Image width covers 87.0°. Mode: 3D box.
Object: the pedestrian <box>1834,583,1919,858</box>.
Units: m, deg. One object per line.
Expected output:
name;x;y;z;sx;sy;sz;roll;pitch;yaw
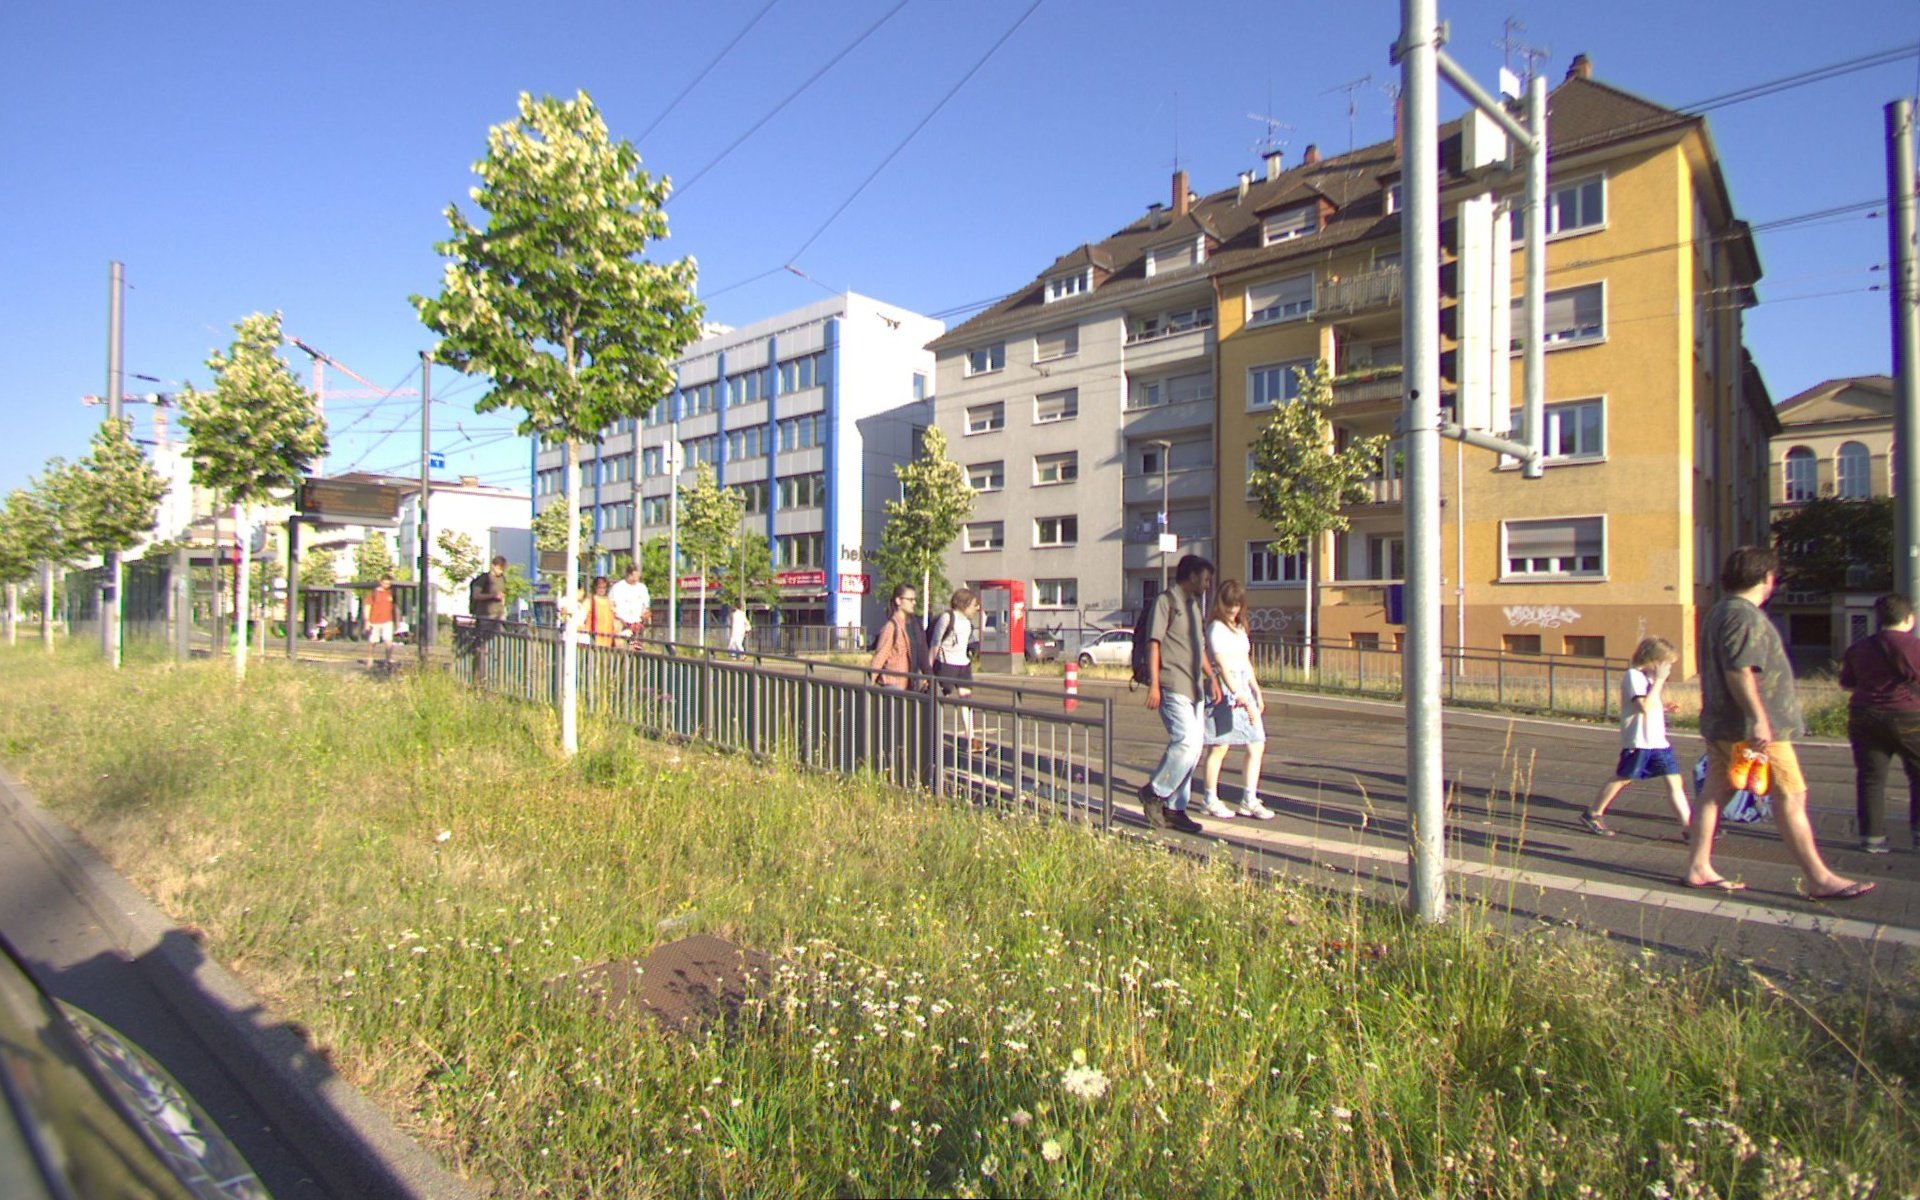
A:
pedestrian;5.822;0.696;6.089;0.787;1.600;0.601;-1;0;37

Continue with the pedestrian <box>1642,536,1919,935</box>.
pedestrian;4.117;0.598;5.071;0.763;1.771;0.903;-1;0;-31

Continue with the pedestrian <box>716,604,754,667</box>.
pedestrian;-6.143;0.965;27.640;0.620;1.685;0.776;-1;0;44

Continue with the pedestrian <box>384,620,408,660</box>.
pedestrian;-24.582;1.744;44.103;0.771;1.705;0.651;-1;0;39

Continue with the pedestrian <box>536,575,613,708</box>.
pedestrian;-4.390;0.458;11.530;0.524;1.467;0.630;-1;0;39

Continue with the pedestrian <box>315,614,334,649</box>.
pedestrian;-31.911;1.564;50.840;0.650;1.705;0.773;-1;0;-43

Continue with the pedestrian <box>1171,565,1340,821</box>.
pedestrian;2.083;0.604;7.128;0.899;1.653;0.778;-1;0;39

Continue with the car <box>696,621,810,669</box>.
car;-7.223;1.522;35.137;3.941;1.519;1.861;-1;0;41

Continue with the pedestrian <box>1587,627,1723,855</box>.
pedestrian;4.492;0.879;6.551;0.587;1.370;0.609;7;-6;-43

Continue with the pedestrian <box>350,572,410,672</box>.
pedestrian;-10.301;0.379;17.966;0.620;1.711;0.776;-1;0;44

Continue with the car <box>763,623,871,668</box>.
car;-5.328;1.631;37.593;3.941;1.519;1.861;-1;0;41

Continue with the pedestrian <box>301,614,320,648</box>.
pedestrian;-33.621;1.586;52.385;0.772;1.705;0.651;-1;0;44

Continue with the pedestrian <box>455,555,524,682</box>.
pedestrian;-7.182;0.271;15.443;0.620;1.878;0.776;-1;0;44

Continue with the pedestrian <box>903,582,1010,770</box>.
pedestrian;-0.027;0.666;9.371;0.619;1.653;0.778;-1;0;39

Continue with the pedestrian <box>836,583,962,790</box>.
pedestrian;-0.485;0.649;8.061;0.776;1.547;0.620;-1;0;-45

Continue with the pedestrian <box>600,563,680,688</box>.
pedestrian;-4.150;0.314;13.121;0.620;1.560;0.776;-1;0;44

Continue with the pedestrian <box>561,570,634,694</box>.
pedestrian;-4.372;0.374;12.210;0.524;1.442;0.630;-1;0;39

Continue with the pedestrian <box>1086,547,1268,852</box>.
pedestrian;1.416;0.586;6.604;0.900;1.814;0.777;0;1;42

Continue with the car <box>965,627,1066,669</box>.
car;2.190;1.864;40.473;3.672;1.519;1.861;-1;0;41

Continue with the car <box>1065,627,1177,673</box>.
car;5.930;1.814;37.366;3.672;1.519;1.861;-1;0;41
